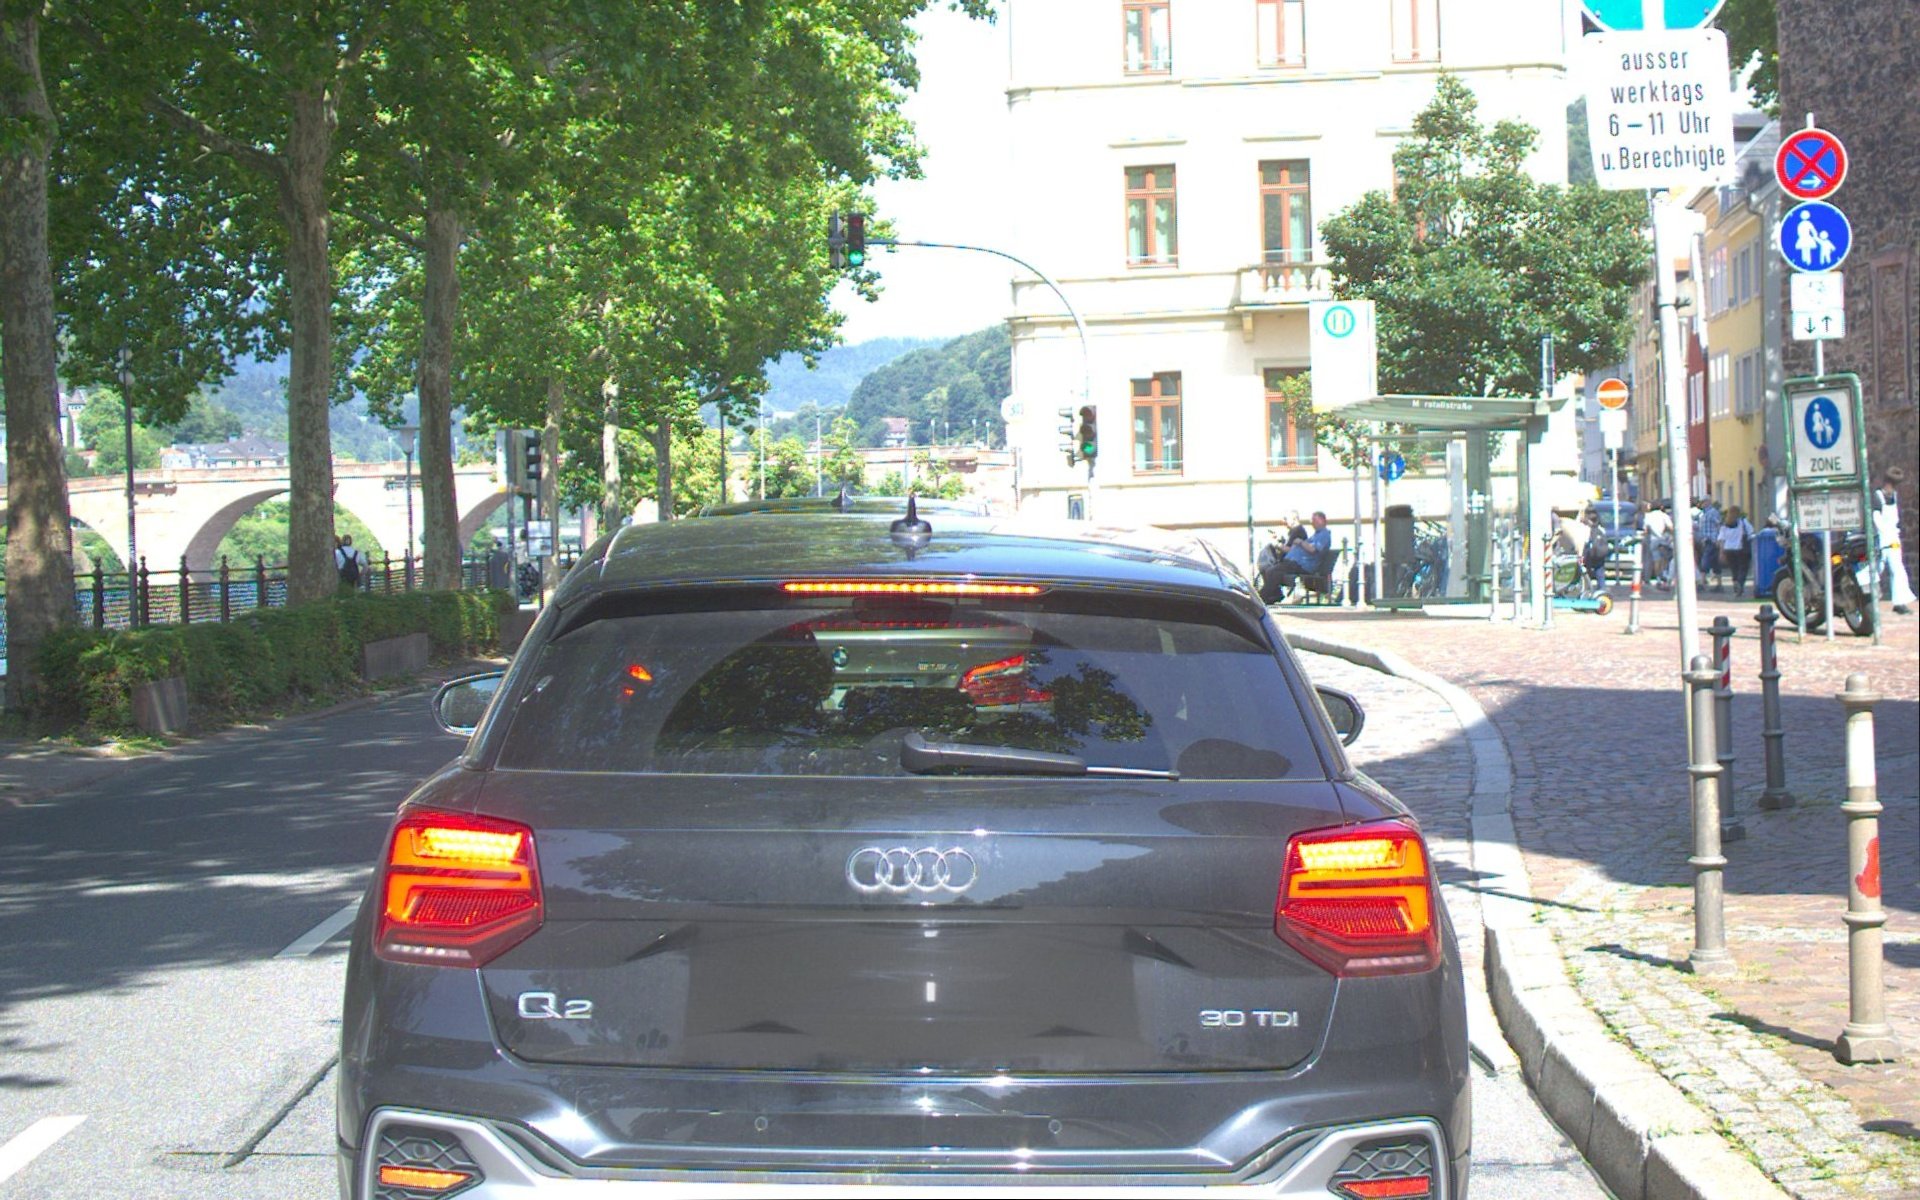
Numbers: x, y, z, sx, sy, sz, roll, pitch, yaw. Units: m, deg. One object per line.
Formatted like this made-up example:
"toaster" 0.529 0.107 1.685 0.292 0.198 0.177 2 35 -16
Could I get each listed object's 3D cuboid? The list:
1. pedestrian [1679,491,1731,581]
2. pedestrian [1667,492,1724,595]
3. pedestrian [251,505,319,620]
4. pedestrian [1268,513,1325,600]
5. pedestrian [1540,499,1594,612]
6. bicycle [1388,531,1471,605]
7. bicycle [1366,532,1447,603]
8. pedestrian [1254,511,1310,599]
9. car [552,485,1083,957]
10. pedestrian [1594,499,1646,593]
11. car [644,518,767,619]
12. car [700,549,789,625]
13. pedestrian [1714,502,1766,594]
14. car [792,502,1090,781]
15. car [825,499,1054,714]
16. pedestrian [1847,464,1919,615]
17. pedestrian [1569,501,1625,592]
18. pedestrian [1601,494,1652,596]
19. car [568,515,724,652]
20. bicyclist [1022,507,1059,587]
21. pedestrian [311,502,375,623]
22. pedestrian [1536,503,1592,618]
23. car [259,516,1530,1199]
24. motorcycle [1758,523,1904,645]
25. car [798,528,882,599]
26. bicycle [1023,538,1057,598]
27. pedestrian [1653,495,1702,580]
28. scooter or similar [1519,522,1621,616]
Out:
"pedestrian" 13.663 -1.180 63.068 0.776 1.616 0.645 -2 1 2
"pedestrian" 14.576 -1.119 68.168 0.940 2.007 0.807 1 0 1
"pedestrian" -10.790 -0.601 54.943 0.911 1.805 0.585 1 -2 4
"pedestrian" 4.712 -0.604 48.182 0.663 1.207 0.641 1 0 -6
"pedestrian" 7.518 -0.552 42.579 0.557 1.380 0.588 1 0 2
"bicycle" 6.693 -0.456 48.955 1.201 1.031 0.179 1 0 -19
"bicycle" 6.447 -0.468 49.586 1.184 1.012 0.179 1 0 -19
"pedestrian" 4.584 -0.638 48.921 0.663 1.227 0.641 1 0 -6
"car" -0.509 0.379 13.454 1.793 1.589 3.399 1 1 -1
"pedestrian" 14.205 -1.161 74.006 0.944 2.007 0.807 1 0 0
"car" -4.543 -0.593 61.775 1.769 1.654 4.000 -3 1 1
"car" -4.991 -0.323 80.144 1.738 1.566 4.092 -4 1 0
"pedestrian" 13.930 -0.937 61.384 0.692 1.607 0.890 -2 1 23
"car" -0.131 0.199 21.605 1.710 1.603 3.655 0 1 -1
"car" -0.186 0.007 29.151 1.794 1.676 4.000 1 1 -1
"pedestrian" 10.337 -0.674 38.199 0.808 1.656 0.655 -1 1 23
"pedestrian" 10.388 -0.871 56.055 0.638 1.439 0.799 -2 1 -7
"pedestrian" 13.283 -1.087 68.548 0.839 2.007 0.738 1 0 0
"car" -4.175 -0.259 46.245 1.673 1.654 4.223 -4 1 -1
"bicyclist" 1.461 -0.957 62.537 0.605 1.445 0.591 1 0 -5
"pedestrian" -10.273 -0.623 57.253 0.911 2.007 0.585 1 0 4
"pedestrian" 10.030 -0.656 57.094 0.748 1.884 0.751 0 1 25
"car" -0.116 0.608 6.583 1.743 1.504 3.647 1 1 -1
"motorcycle" 7.602 -0.163 30.092 0.566 1.009 2.490 -1 1 -2
"car" -3.143 -0.955 90.456 1.993 1.800 4.000 1 0 1
"bicycle" 1.449 -0.588 62.625 0.437 1.082 1.677 1 0 -5
"pedestrian" 13.350 -1.162 63.961 0.776 1.559 0.645 -2 1 5
"scooter or similar" 6.991 -0.352 39.394 1.088 1.062 0.323 1 0 -2
